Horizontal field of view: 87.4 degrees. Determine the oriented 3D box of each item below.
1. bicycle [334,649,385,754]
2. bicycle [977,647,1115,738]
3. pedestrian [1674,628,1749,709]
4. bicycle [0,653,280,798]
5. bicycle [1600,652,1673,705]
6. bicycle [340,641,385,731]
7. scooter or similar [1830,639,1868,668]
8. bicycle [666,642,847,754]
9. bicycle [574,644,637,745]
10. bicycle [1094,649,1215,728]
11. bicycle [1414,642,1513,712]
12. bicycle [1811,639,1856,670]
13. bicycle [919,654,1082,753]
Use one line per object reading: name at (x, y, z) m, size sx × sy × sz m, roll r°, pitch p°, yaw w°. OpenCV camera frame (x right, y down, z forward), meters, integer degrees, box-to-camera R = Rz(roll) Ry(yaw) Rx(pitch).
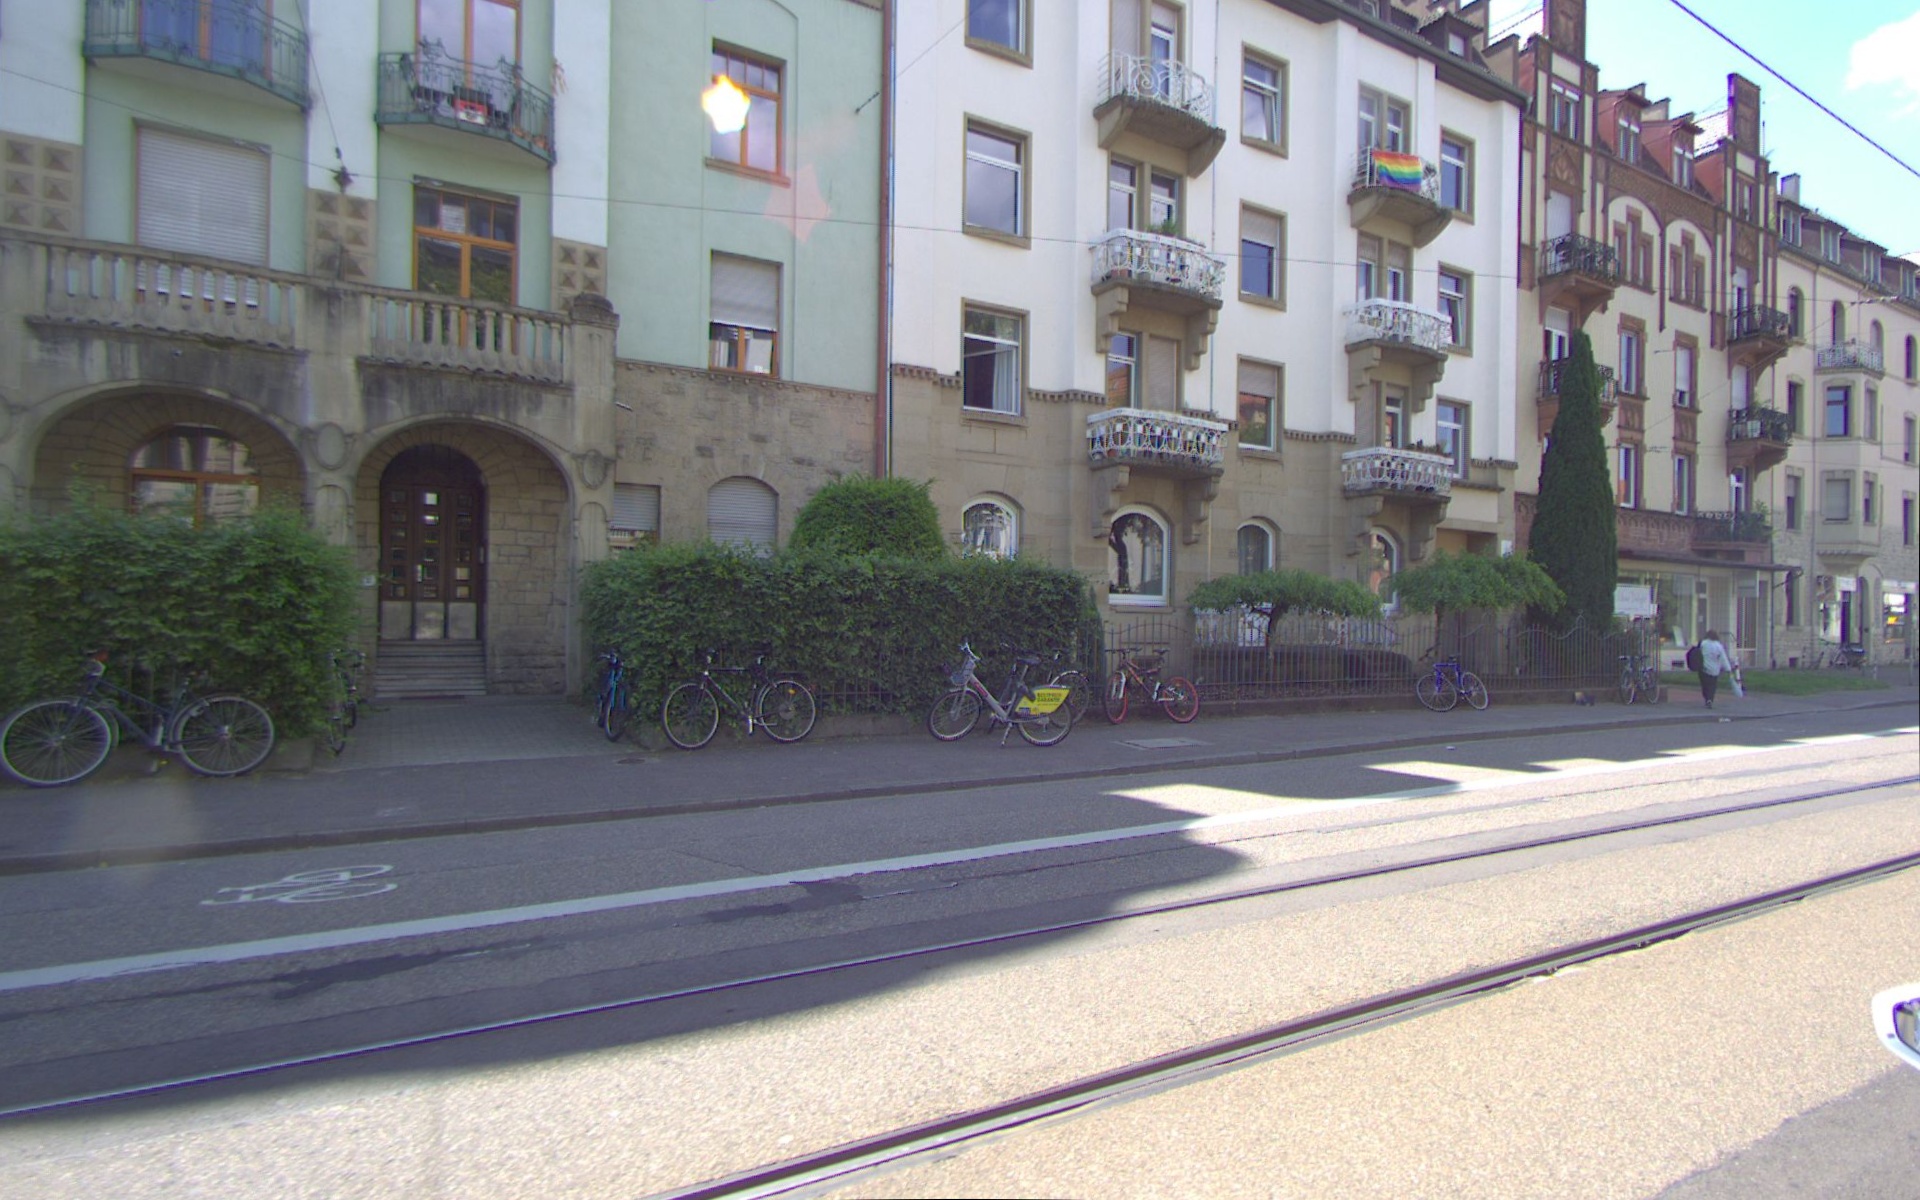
bicycle at (-5.845, 0.954, 9.802) m, size 0.335 × 0.920 × 1.200 m, roll 1°, pitch -1°, yaw -27°
bicycle at (1.069, 1.107, 12.327) m, size 1.688 × 1.013 × 0.462 m, roll 1°, pitch 2°, yaw -30°
pedestrian at (15.100, 1.353, 20.190) m, size 0.973 × 1.563 × 0.896 m, roll 1°, pitch -1°, yaw -30°
bicycle at (-6.485, 0.953, 7.973) m, size 1.751 × 0.989 × 0.604 m, roll 1°, pitch 3°, yaw -31°
bicycle at (13.399, 1.557, 19.874) m, size 1.820 × 0.973 × 0.408 m, roll 3°, pitch 2°, yaw -31°
bicycle at (-6.628, 0.928, 11.167) m, size 0.335 × 0.920 × 1.200 m, roll 1°, pitch -1°, yaw -27°
scooter or similar at (34.084, 2.045, 38.524) m, size 0.682 × 1.058 × 1.210 m, roll 2°, pitch 0°, yaw 20°
bicycle at (-2.142, 1.001, 10.630) m, size 1.751 × 1.046 × 0.604 m, roll 1°, pitch 3°, yaw -31°
bicycle at (-3.990, 1.017, 11.250) m, size 0.387 × 0.941 × 1.564 m, roll 1°, pitch 1°, yaw -29°
bicycle at (2.620, 1.163, 13.446) m, size 1.705 × 0.979 × 0.411 m, roll 1°, pitch 2°, yaw -31°
bicycle at (8.517, 1.277, 16.981) m, size 1.751 × 1.079 × 0.604 m, roll 1°, pitch 3°, yaw -31°
bicycle at (32.494, 2.040, 37.364) m, size 1.438 × 1.080 × 0.371 m, roll 3°, pitch 0°, yaw -7°
bicycle at (0.464, 1.123, 11.090) m, size 1.739 × 1.012 × 0.610 m, roll 1°, pitch -1°, yaw 6°
